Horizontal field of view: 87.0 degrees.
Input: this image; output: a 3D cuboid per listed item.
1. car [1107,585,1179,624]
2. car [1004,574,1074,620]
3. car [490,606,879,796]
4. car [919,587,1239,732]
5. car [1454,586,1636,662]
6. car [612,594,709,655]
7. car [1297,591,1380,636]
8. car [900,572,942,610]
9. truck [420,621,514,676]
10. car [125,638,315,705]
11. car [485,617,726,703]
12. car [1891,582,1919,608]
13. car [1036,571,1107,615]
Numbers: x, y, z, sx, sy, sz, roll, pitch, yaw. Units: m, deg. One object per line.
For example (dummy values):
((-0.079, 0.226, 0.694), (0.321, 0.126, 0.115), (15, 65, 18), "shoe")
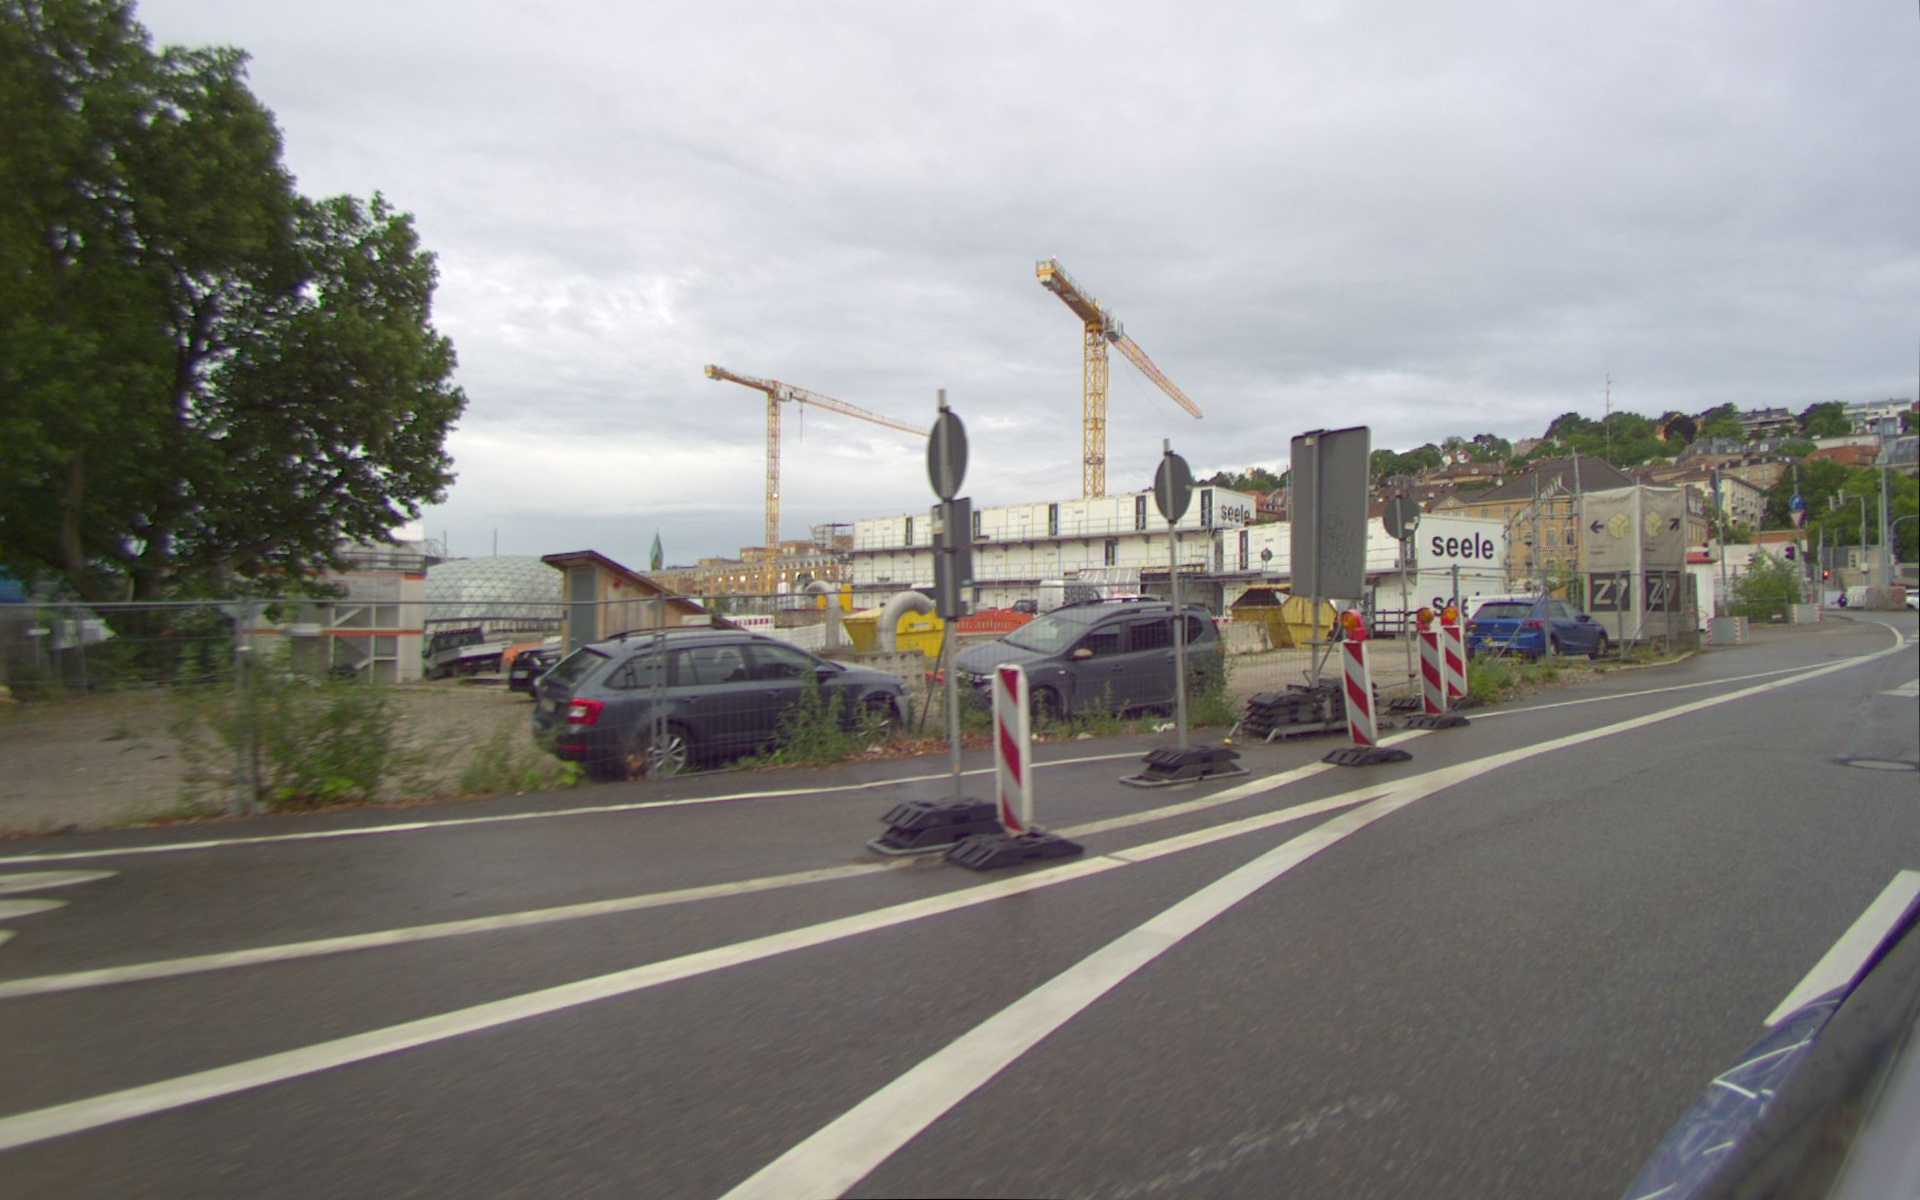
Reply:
((10.109, 0.205, 55.634), (1.988, 1.910, 4.920), (2, 2, 36), "car")
((4.840, -0.251, 61.188), (1.988, 2.591, 4.920), (2, 2, 36), "car")
((-3.035, 0.980, 11.739), (1.851, 1.502, 3.940), (1, 4, 43), "car")
((1.777, 0.728, 14.718), (4.326, 1.669, 1.930), (-1, 5, -32), "car")
((12.921, 0.496, 22.277), (4.331, 1.460, 1.837), (-1, -2, -36), "car")
((-12.733, 0.963, 43.428), (1.923, 2.306, 5.251), (1, 2, 9), "car")
((17.171, 0.549, 45.762), (2.012, 1.925, 4.584), (1, 1, 42), "car")
((-2.633, -0.618, 67.217), (2.106, 2.412, 4.411), (0, 1, -11), "car")
((-21.316, 2.133, 43.619), (2.368, 2.079, 5.554), (-1, -3, -40), "truck")
((-27.339, 2.618, 37.490), (5.469, 2.079, 2.405), (-1, -3, -42), "car")
((-6.591, 1.061, 19.108), (1.711, 1.323, 3.938), (-3, -1, 43), "car")
((57.873, -0.308, 59.392), (4.531, 1.489, 1.976), (1, 2, 35), "car")
((6.588, -0.454, 59.472), (1.988, 2.472, 4.920), (0, 2, 36), "car")
